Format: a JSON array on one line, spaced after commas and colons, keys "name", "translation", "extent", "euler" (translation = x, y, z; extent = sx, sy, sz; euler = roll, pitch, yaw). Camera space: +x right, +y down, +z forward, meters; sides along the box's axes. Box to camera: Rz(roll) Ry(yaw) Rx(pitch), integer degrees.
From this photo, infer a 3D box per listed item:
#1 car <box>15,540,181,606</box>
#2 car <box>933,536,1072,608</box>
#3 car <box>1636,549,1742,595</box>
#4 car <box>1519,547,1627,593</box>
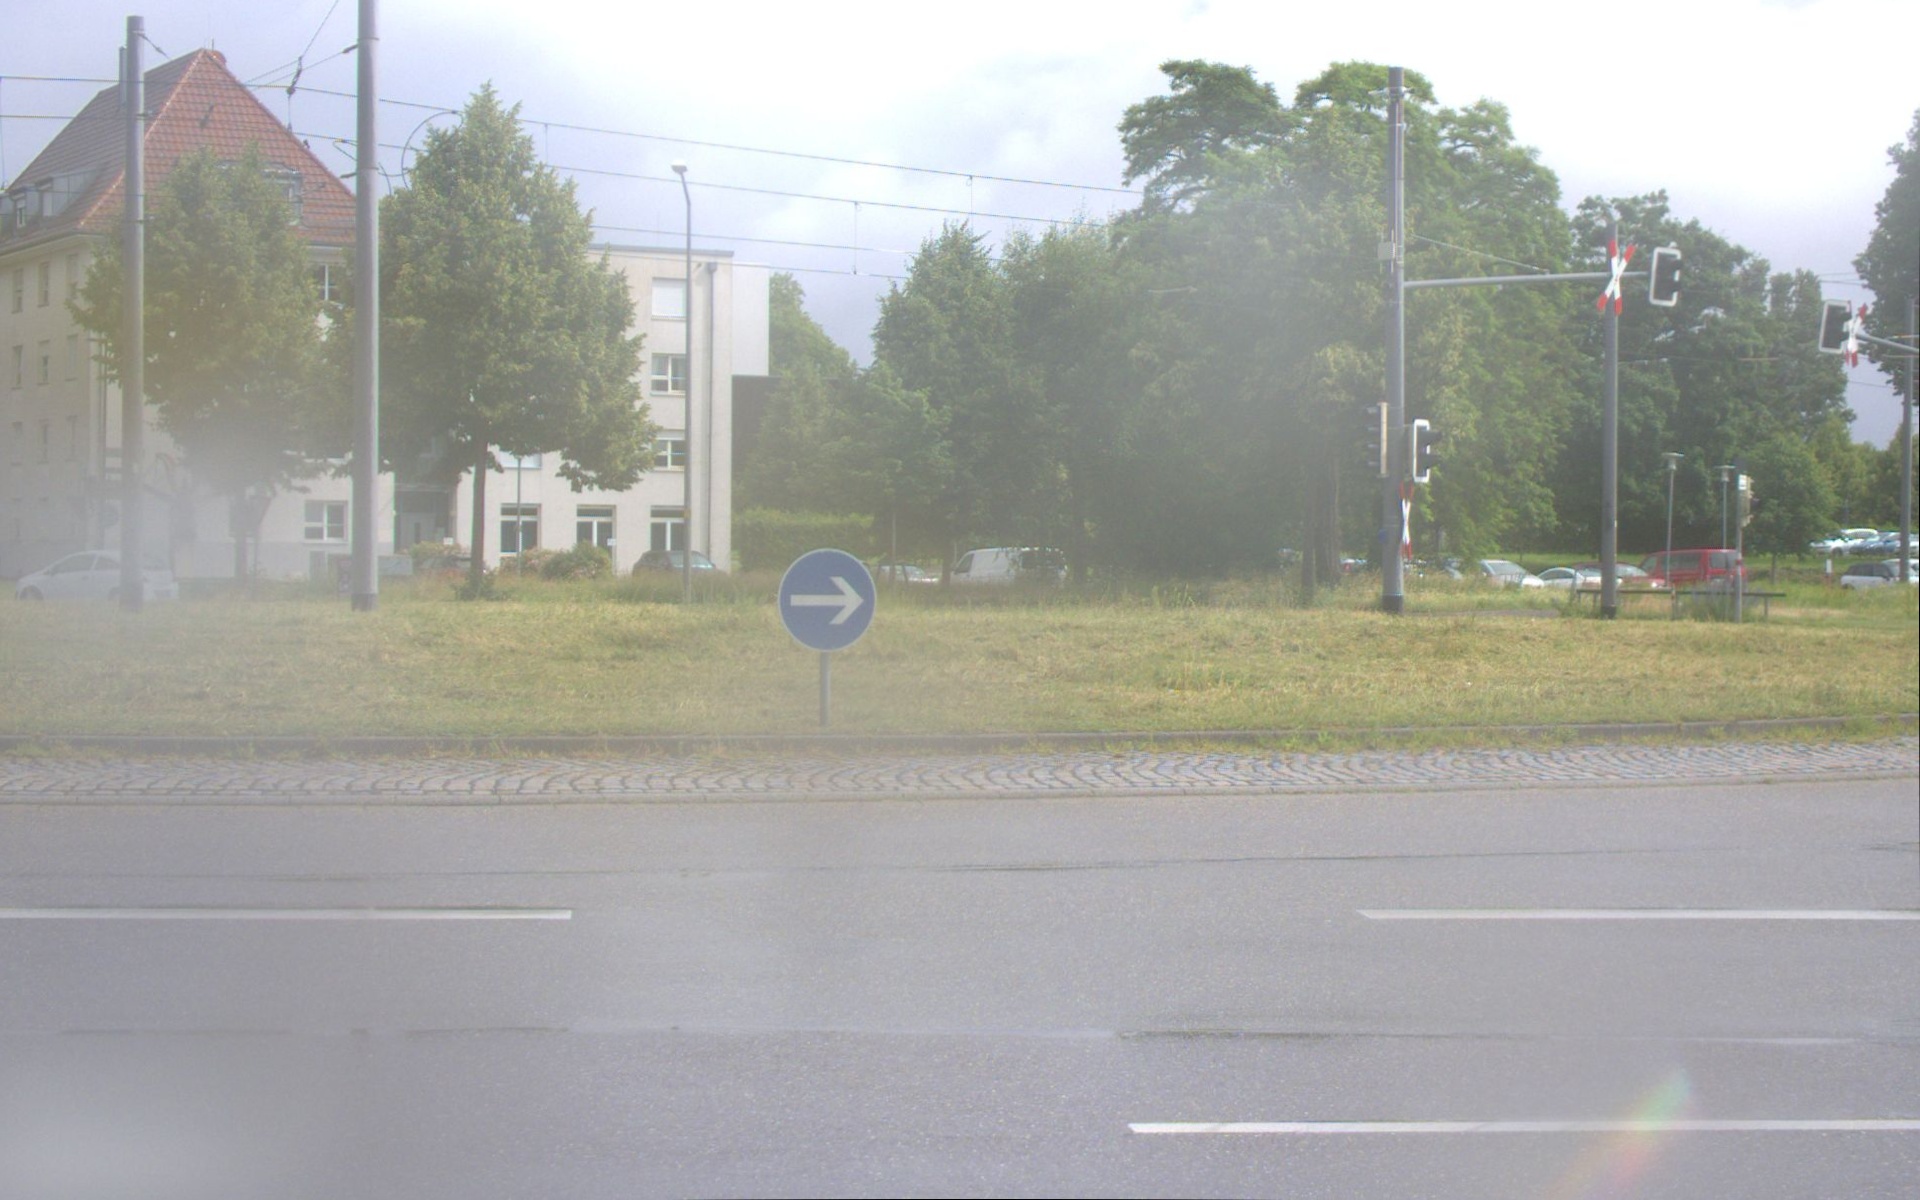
[{"name": "car", "translation": [-19.764, -0.634, 78.836], "extent": [3.493, 1.449, 1.548], "euler": [1, 2, 24]}, {"name": "car", "translation": [1.240, -0.868, 103.148], "extent": [2.106, 2.050, 5.162], "euler": [-1, 2, -25]}, {"name": "car", "translation": [24.387, -0.953, 115.095], "extent": [1.644, 1.505, 3.651], "euler": [0, 1, -24]}, {"name": "car", "translation": [20.041, -0.989, 112.529], "extent": [1.639, 1.457, 3.611], "euler": [0, 1, -27]}]
